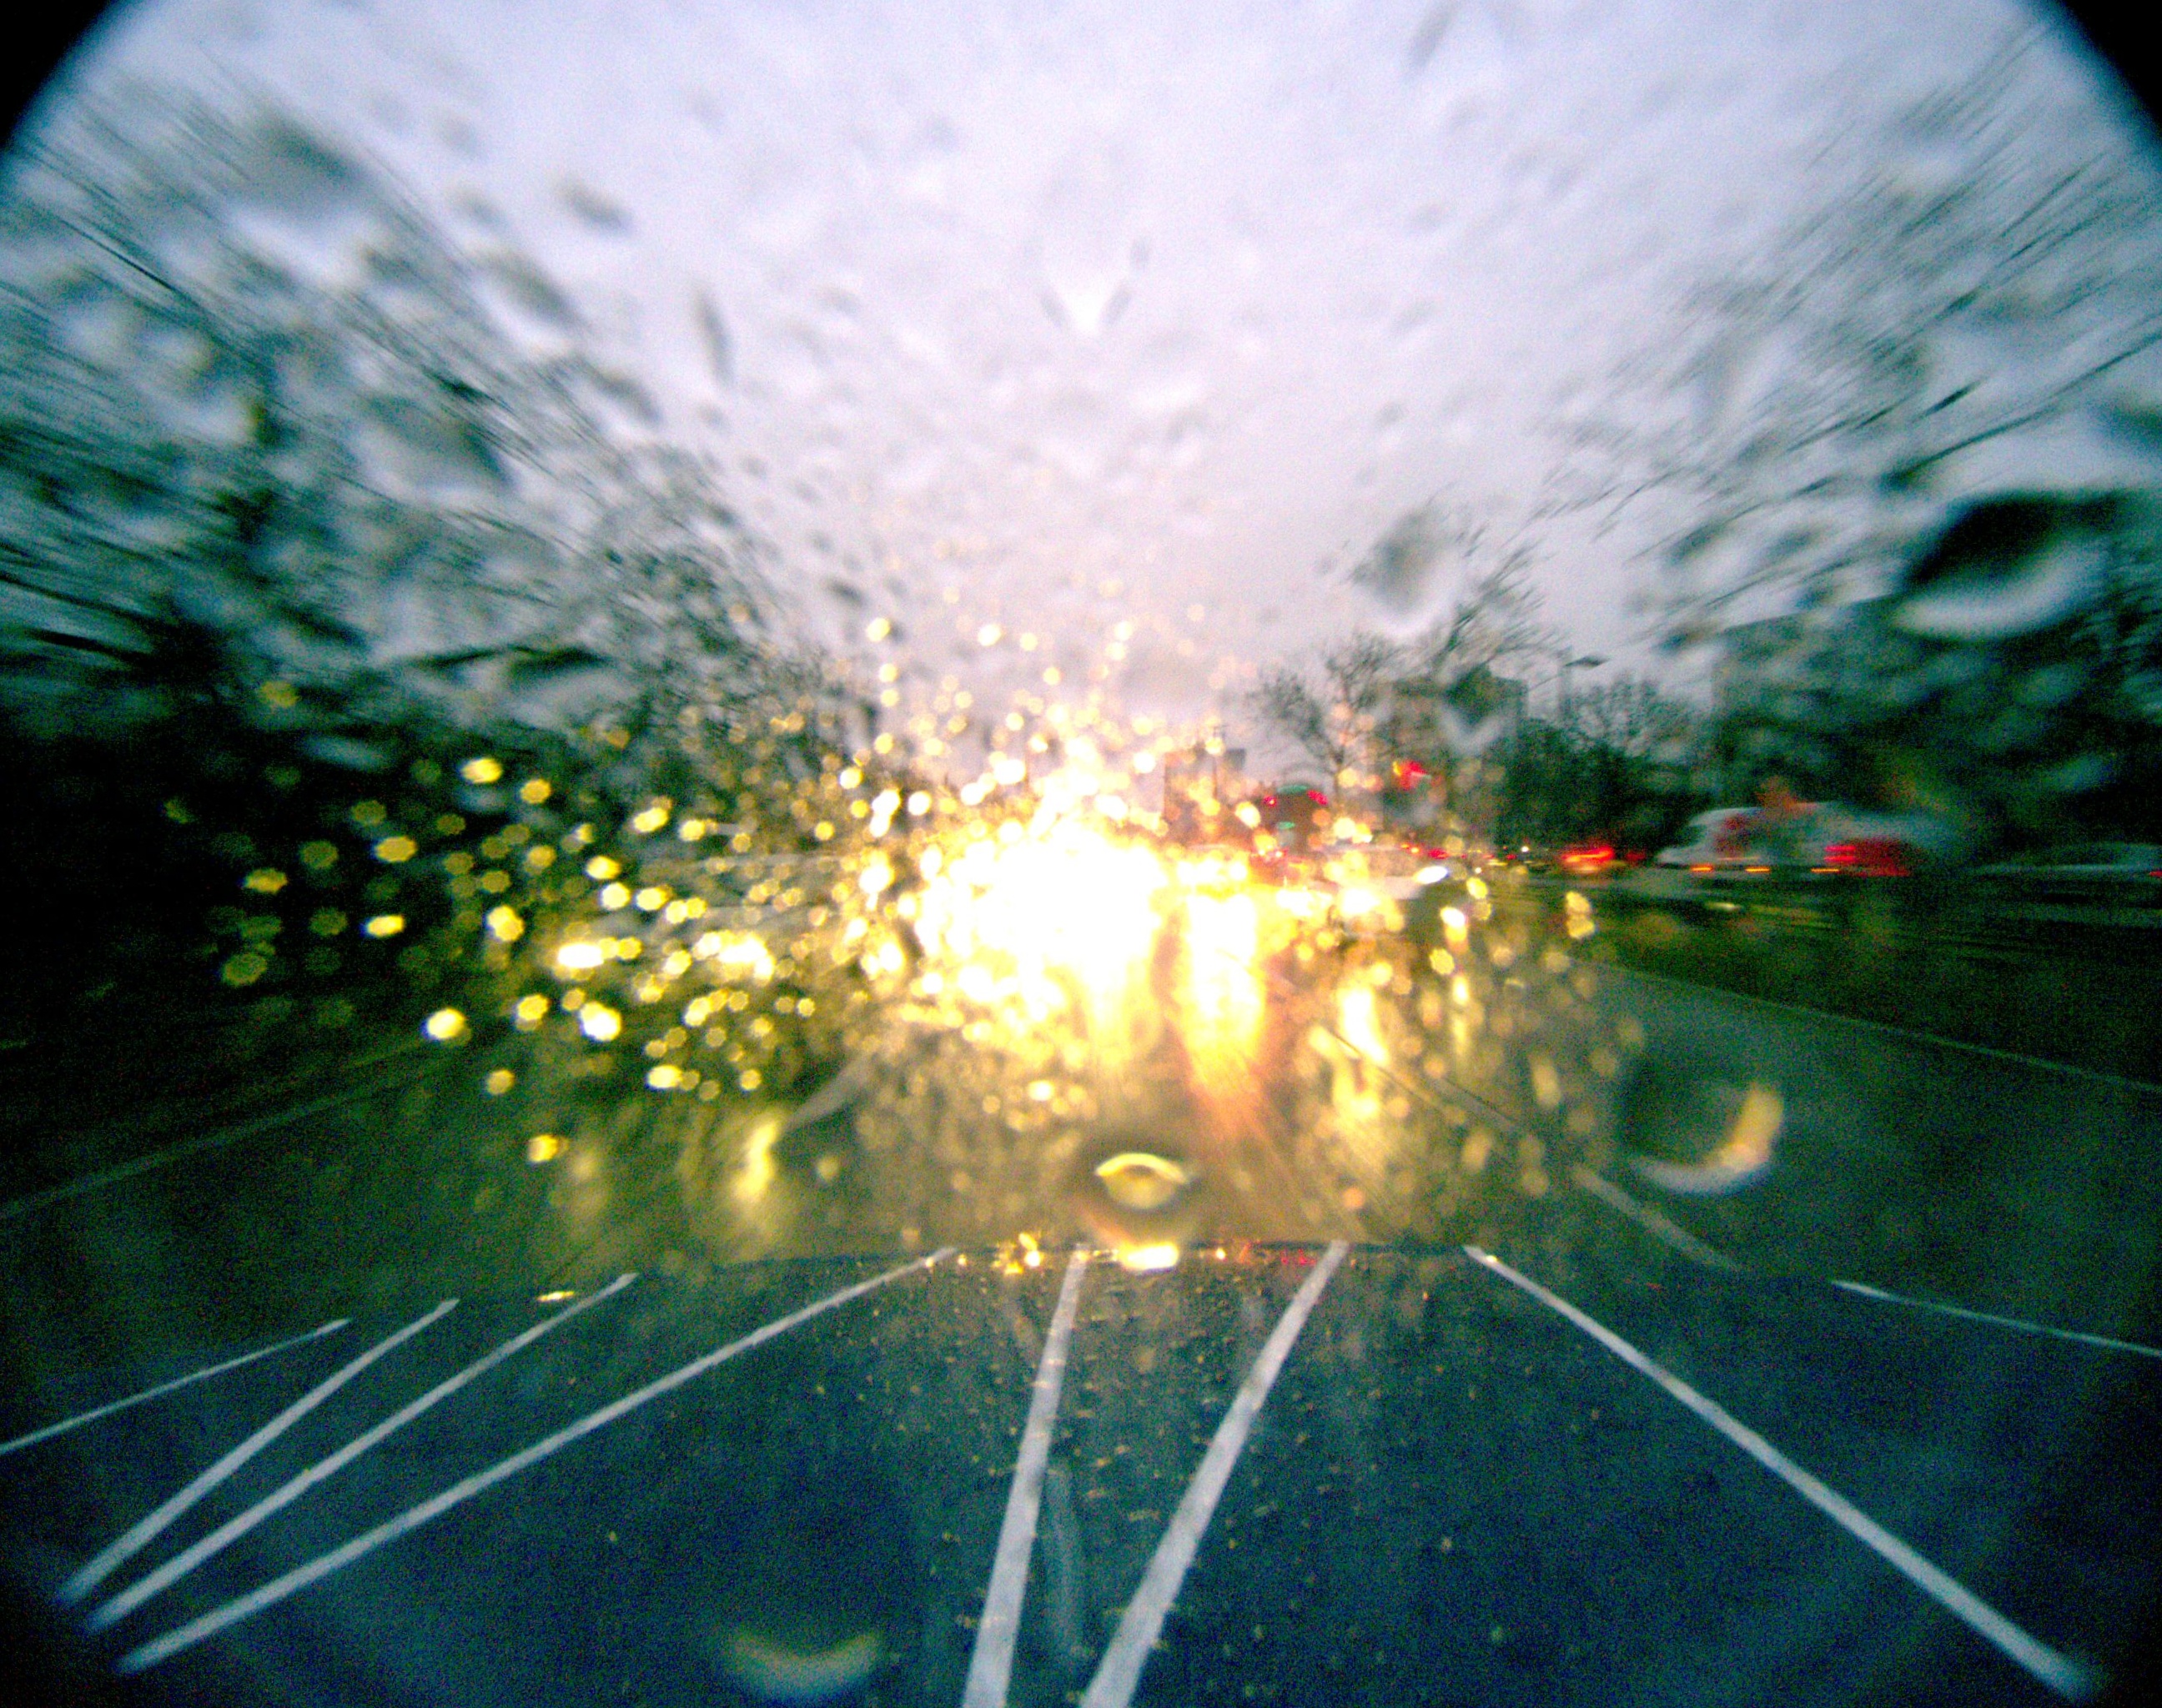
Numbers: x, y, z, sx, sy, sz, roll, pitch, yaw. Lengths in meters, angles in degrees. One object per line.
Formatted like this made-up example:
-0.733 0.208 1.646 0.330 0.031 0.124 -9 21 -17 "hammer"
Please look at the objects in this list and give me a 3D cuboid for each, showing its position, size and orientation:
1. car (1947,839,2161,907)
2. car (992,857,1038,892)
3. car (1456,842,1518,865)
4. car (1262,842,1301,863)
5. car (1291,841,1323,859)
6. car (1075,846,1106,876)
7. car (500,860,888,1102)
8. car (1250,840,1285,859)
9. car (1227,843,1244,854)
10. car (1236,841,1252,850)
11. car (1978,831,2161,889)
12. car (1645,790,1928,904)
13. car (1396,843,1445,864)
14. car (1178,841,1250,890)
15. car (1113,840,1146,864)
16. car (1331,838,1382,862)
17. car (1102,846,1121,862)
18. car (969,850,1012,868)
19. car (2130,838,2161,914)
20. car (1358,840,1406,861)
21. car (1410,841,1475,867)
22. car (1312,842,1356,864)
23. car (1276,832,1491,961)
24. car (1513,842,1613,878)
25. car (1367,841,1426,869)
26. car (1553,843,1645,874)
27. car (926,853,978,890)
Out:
24.728 0.376 18.807 1.909 1.438 4.088 -2 1 0 "car"
-2.921 0.868 34.588 1.882 1.368 4.752 -1 1 -3 "car"
25.576 -0.054 47.979 1.760 1.390 3.999 -1 1 0 "car"
15.521 -0.164 59.052 1.774 1.528 4.839 -1 1 -1 "car"
18.967 -0.350 63.830 1.656 1.412 3.325 -1 1 -1 "car"
0.495 0.376 43.934 1.679 1.590 4.043 -1 1 -1 "car"
-3.353 0.935 7.731 1.820 1.609 4.408 -1 1 -3 "car"
16.159 -0.365 66.127 1.862 1.572 4.077 -1 1 -3 "car"
23.204 -0.861 114.321 1.774 1.545 3.946 -1 1 -1 "car"
26.373 -1.355 122.877 1.623 1.486 4.015 -1 1 -1 "car"
28.748 0.114 21.323 1.909 1.438 4.441 -2 1 0 "car"
21.771 -0.289 24.177 2.297 2.988 7.345 -2 2 2 "car"
25.916 -0.062 58.182 1.774 1.486 4.439 -1 1 -1 "car"
4.567 0.327 26.656 1.694 1.530 4.189 -2 1 -1 "car"
3.388 -0.172 53.722 1.953 1.590 4.123 -1 1 -1 "car"
18.546 -0.309 51.357 1.774 1.524 4.524 -1 1 -1 "car"
3.443 -0.062 86.043 1.998 1.652 3.999 -2 2 0 "car"
-6.806 0.350 57.126 1.640 1.302 3.990 -1 1 -32 "car"
21.477 0.453 12.698 1.908 1.438 4.456 -1 1 5 "car"
22.615 -0.270 57.252 1.774 1.486 4.439 -1 1 -1 "car"
22.226 -0.010 46.955 1.774 1.481 4.648 -1 1 -1 "car"
19.335 -0.119 58.225 1.862 1.589 4.286 -1 1 -1 "car"
4.437 0.516 11.882 1.718 1.638 4.146 -1 1 0 "car"
21.804 0.243 34.604 1.774 1.528 4.445 -1 1 1 "car"
18.594 0.024 44.925 1.774 1.577 4.032 -1 1 -1 "car"
25.120 0.194 37.011 1.760 1.390 3.999 -1 1 0 "car"
-6.238 0.798 37.305 1.972 1.610 4.545 0 1 -3 "car"
